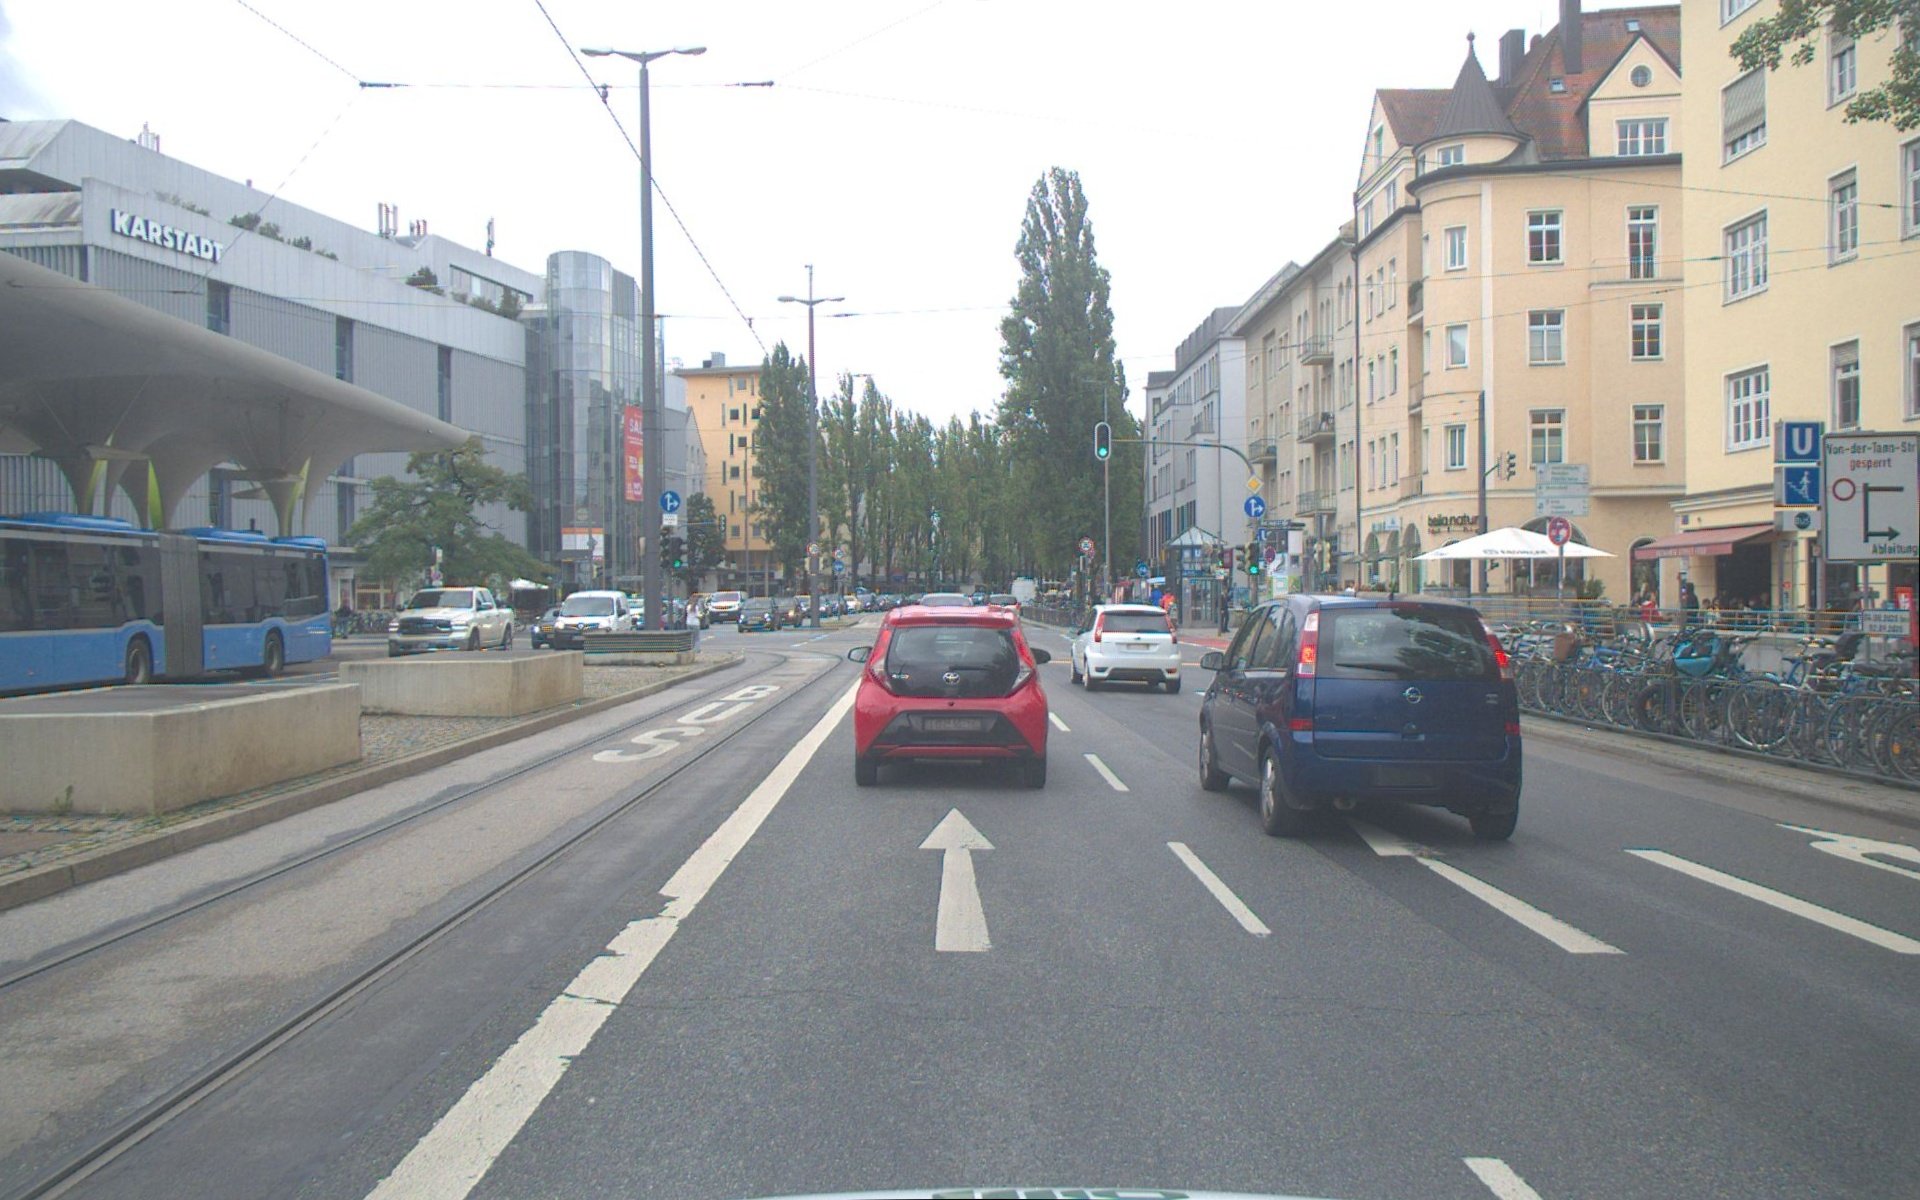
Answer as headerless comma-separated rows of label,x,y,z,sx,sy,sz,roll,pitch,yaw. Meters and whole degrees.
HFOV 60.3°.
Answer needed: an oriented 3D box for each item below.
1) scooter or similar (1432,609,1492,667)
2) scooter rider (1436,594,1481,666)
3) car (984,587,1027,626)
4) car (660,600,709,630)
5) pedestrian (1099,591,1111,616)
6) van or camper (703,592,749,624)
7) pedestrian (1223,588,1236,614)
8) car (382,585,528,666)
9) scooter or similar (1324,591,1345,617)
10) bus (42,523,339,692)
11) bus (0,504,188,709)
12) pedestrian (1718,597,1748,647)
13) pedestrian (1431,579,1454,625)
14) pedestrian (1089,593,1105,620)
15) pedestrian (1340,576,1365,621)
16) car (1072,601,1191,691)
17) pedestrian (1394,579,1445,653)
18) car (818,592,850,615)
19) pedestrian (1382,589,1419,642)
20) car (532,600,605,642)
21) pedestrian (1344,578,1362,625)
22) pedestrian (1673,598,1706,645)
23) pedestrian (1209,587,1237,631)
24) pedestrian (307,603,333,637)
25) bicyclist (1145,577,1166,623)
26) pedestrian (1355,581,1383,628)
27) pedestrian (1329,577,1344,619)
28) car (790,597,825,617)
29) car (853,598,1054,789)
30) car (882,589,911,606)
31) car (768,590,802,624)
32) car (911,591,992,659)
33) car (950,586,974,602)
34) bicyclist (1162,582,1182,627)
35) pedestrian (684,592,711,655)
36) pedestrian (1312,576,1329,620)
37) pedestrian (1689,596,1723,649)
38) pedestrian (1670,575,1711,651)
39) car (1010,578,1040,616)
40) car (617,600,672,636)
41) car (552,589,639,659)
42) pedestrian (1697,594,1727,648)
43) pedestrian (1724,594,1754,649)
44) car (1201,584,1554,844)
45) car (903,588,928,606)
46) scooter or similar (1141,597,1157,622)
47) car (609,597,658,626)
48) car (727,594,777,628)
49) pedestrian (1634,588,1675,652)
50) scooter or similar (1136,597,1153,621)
scooter or similar,9.991,0.746,32.938,0.760,1.094,1.256,-1,0,-2
scooter rider,9.945,0.595,33.015,0.686,1.413,0.643,-1,0,-3
car,2.257,0.317,82.463,1.953,1.870,3.999,-1,0,-1
car,-13.796,0.709,82.873,1.805,1.441,4.034,-1,0,-1
pedestrian,10.290,0.231,117.417,0.774,1.758,0.763,-1,0,-1
van or camper,-14.012,0.480,99.390,1.888,1.858,5.441,-1,0,1
pedestrian,17.076,0.082,104.829,0.717,1.630,0.742,-1,0,-1
car,-12.955,0.612,42.901,2.131,1.920,6.153,-1,0,-3
scooter or similar,14.833,0.160,65.511,0.802,1.011,0.594,-1,3,11
bus,-15.880,0.114,34.864,2.606,3.060,7.513,-3,0,0
bus,-15.691,0.147,25.830,2.607,3.060,10.510,-3,0,-2
pedestrian,18.584,0.513,39.761,0.468,1.186,0.527,-1,0,-2
pedestrian,18.575,0.058,63.666,0.669,1.714,0.744,1,4,35
pedestrian,8.163,0.386,98.844,0.781,1.549,0.812,-1,0,18
pedestrian,15.723,-0.054,66.288,0.637,1.734,0.726,-3,4,-30
car,2.958,0.762,29.165,1.665,1.451,3.496,-1,0,-1
pedestrian,11.198,0.379,40.299,0.867,1.773,0.854,-1,0,-17
car,-9.721,0.274,127.559,1.706,1.699,4.735,-1,0,5
pedestrian,13.166,0.460,49.444,0.717,1.567,0.887,-1,0,-15
car,-13.765,0.721,58.353,1.639,1.403,4.611,0,0,-2
pedestrian,15.536,0.055,65.358,0.634,1.782,0.637,-1,3,11
pedestrian,18.886,0.554,42.840,0.504,1.202,0.703,-1,0,-2
pedestrian,10.360,0.362,65.144,0.820,1.720,0.816,-1,0,37
pedestrian,-31.272,0.968,80.826,0.780,1.608,0.978,-1,0,10
bicyclist,8.214,0.012,69.464,0.747,1.902,1.133,-1,0,0
pedestrian,15.775,0.180,63.796,0.914,1.786,1.066,-1,0,8
pedestrian,15.134,-0.070,66.519,0.548,1.637,0.568,-1,3,12
car,-10.843,0.489,117.759,1.952,1.436,4.169,0,0,3
car,-0.037,0.733,14.600,1.572,1.487,3.130,0,0,0
car,-6.097,-0.256,159.280,1.951,1.561,4.591,-1,0,9
car,-8.343,0.337,78.690,1.475,1.561,2.831,-1,0,-9
car,-0.243,0.604,42.534,1.953,1.646,3.999,-1,0,-1
car,0.281,-0.720,191.440,1.951,1.758,3.920,-1,0,13
bicyclist,8.143,0.175,63.567,0.601,1.686,1.251,-1,0,0
pedestrian,-6.976,0.619,43.970,0.513,1.646,0.461,-1,0,43
pedestrian,14.469,-0.085,66.414,0.554,1.699,0.562,0,3,22
pedestrian,18.937,0.563,41.985,0.504,1.314,0.703,-1,0,-2
pedestrian,16.328,0.285,36.978,0.602,1.661,0.677,-1,0,-1
car,4.887,-0.221,124.263,2.063,2.766,4.804,-1,0,0
car,-13.266,0.731,69.695,1.644,1.420,4.230,-1,0,-3
car,-10.577,0.672,48.269,1.750,1.887,4.216,-2,0,-3
pedestrian,18.532,0.509,40.765,0.468,1.322,0.527,-1,0,-2
pedestrian,19.226,0.526,40.841,0.468,1.322,0.527,-1,0,-2
car,2.861,0.708,12.090,1.668,1.617,3.556,0,0,0
car,-4.569,-0.338,168.648,1.951,1.721,4.924,-2,0,5
scooter or similar,9.395,0.458,82.255,0.294,1.196,1.275,-1,0,29
car,-18.395,0.635,93.423,1.862,1.570,4.393,-1,0,0
car,-9.303,0.480,73.868,1.522,1.471,3.519,-1,0,-19
pedestrian,15.826,0.447,37.701,0.662,1.447,0.616,-1,0,-1
scooter or similar,9.211,0.453,82.612,0.357,1.196,1.345,-1,0,29
